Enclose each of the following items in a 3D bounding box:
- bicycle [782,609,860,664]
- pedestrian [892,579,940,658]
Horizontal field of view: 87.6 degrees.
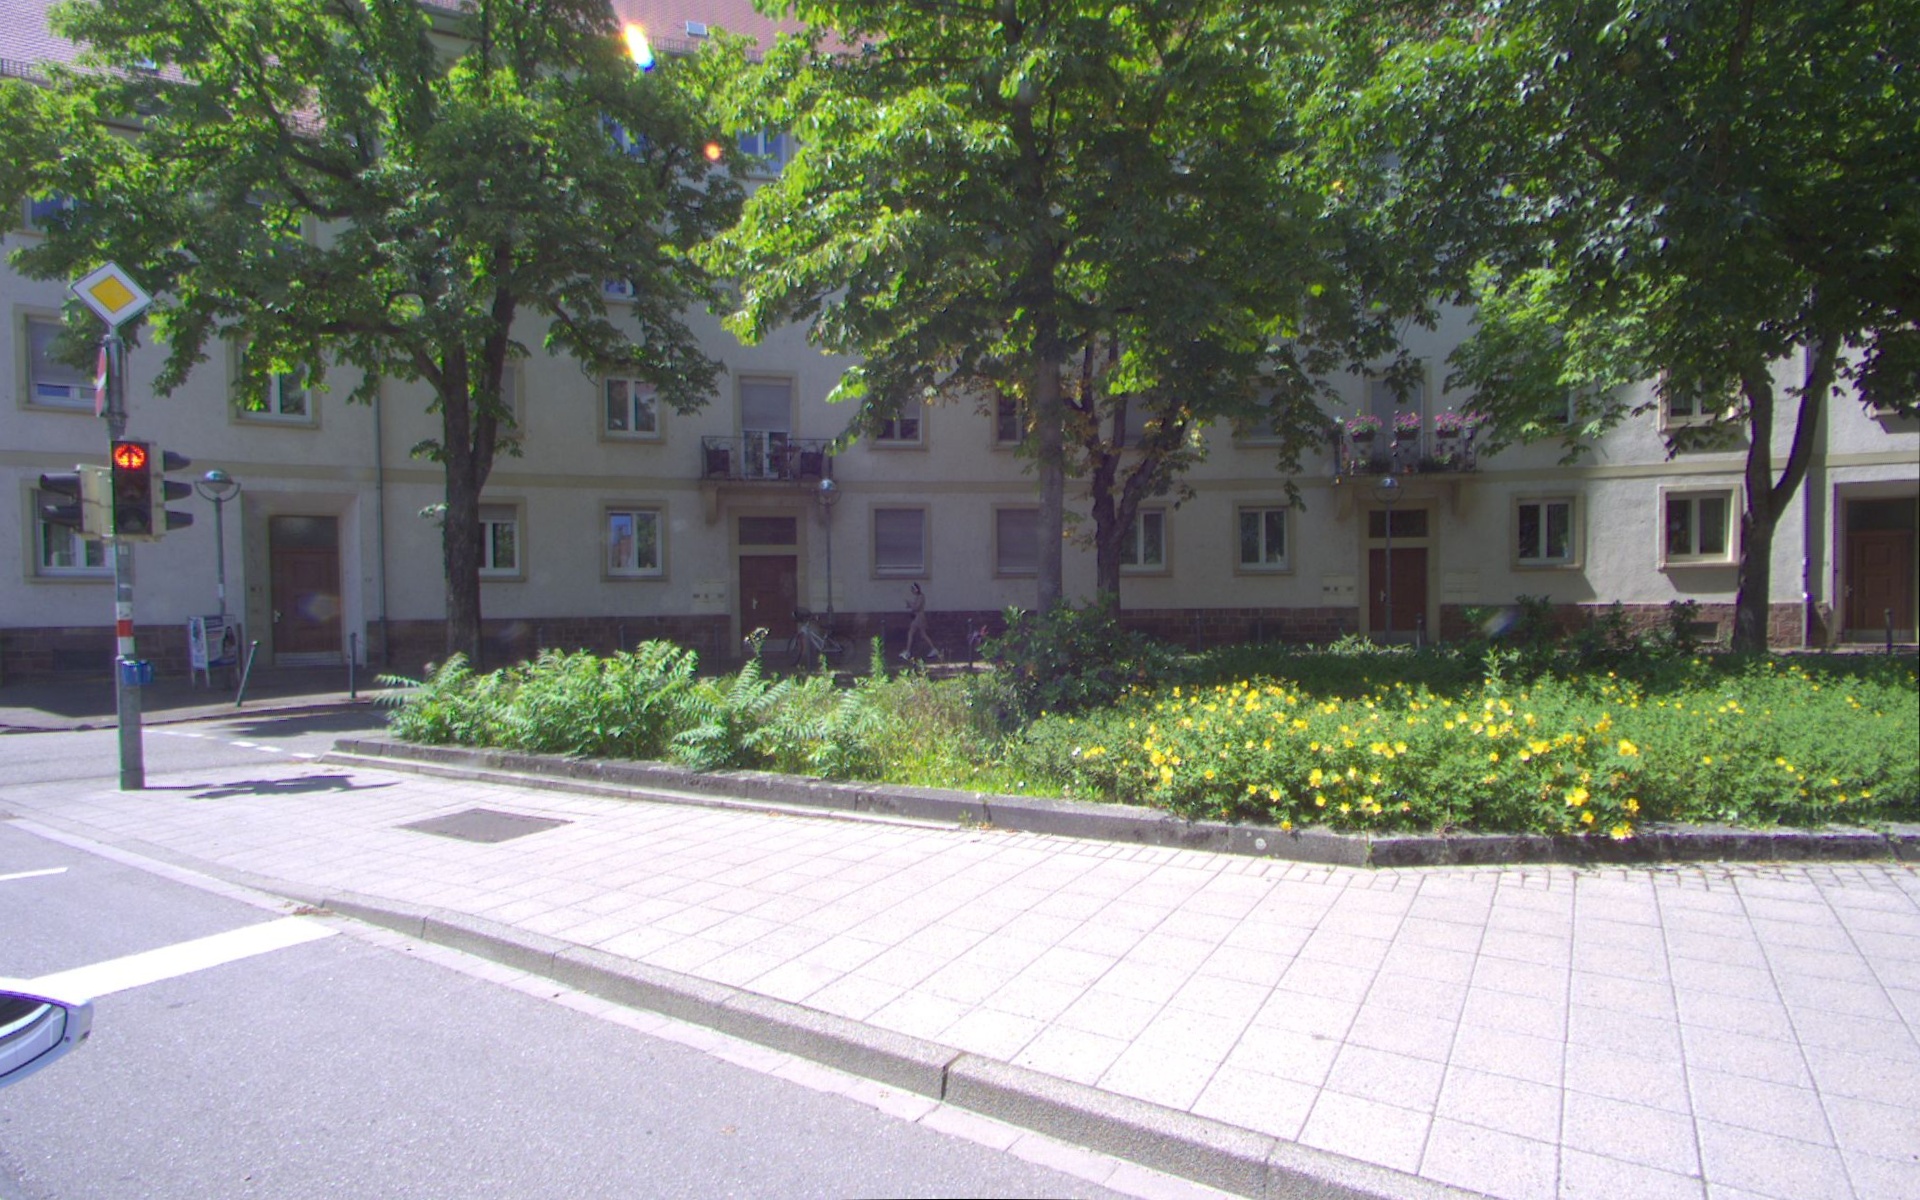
[{"bbox_3d":[-2.884,0.754,20.873,1.575,1.119,0.525,-1,1,-4],"label":"bicycle"},{"bbox_3d":[-1.007,0.410,22.726,1.037,1.715,0.652,-1,6,-6],"label":"pedestrian"}]
